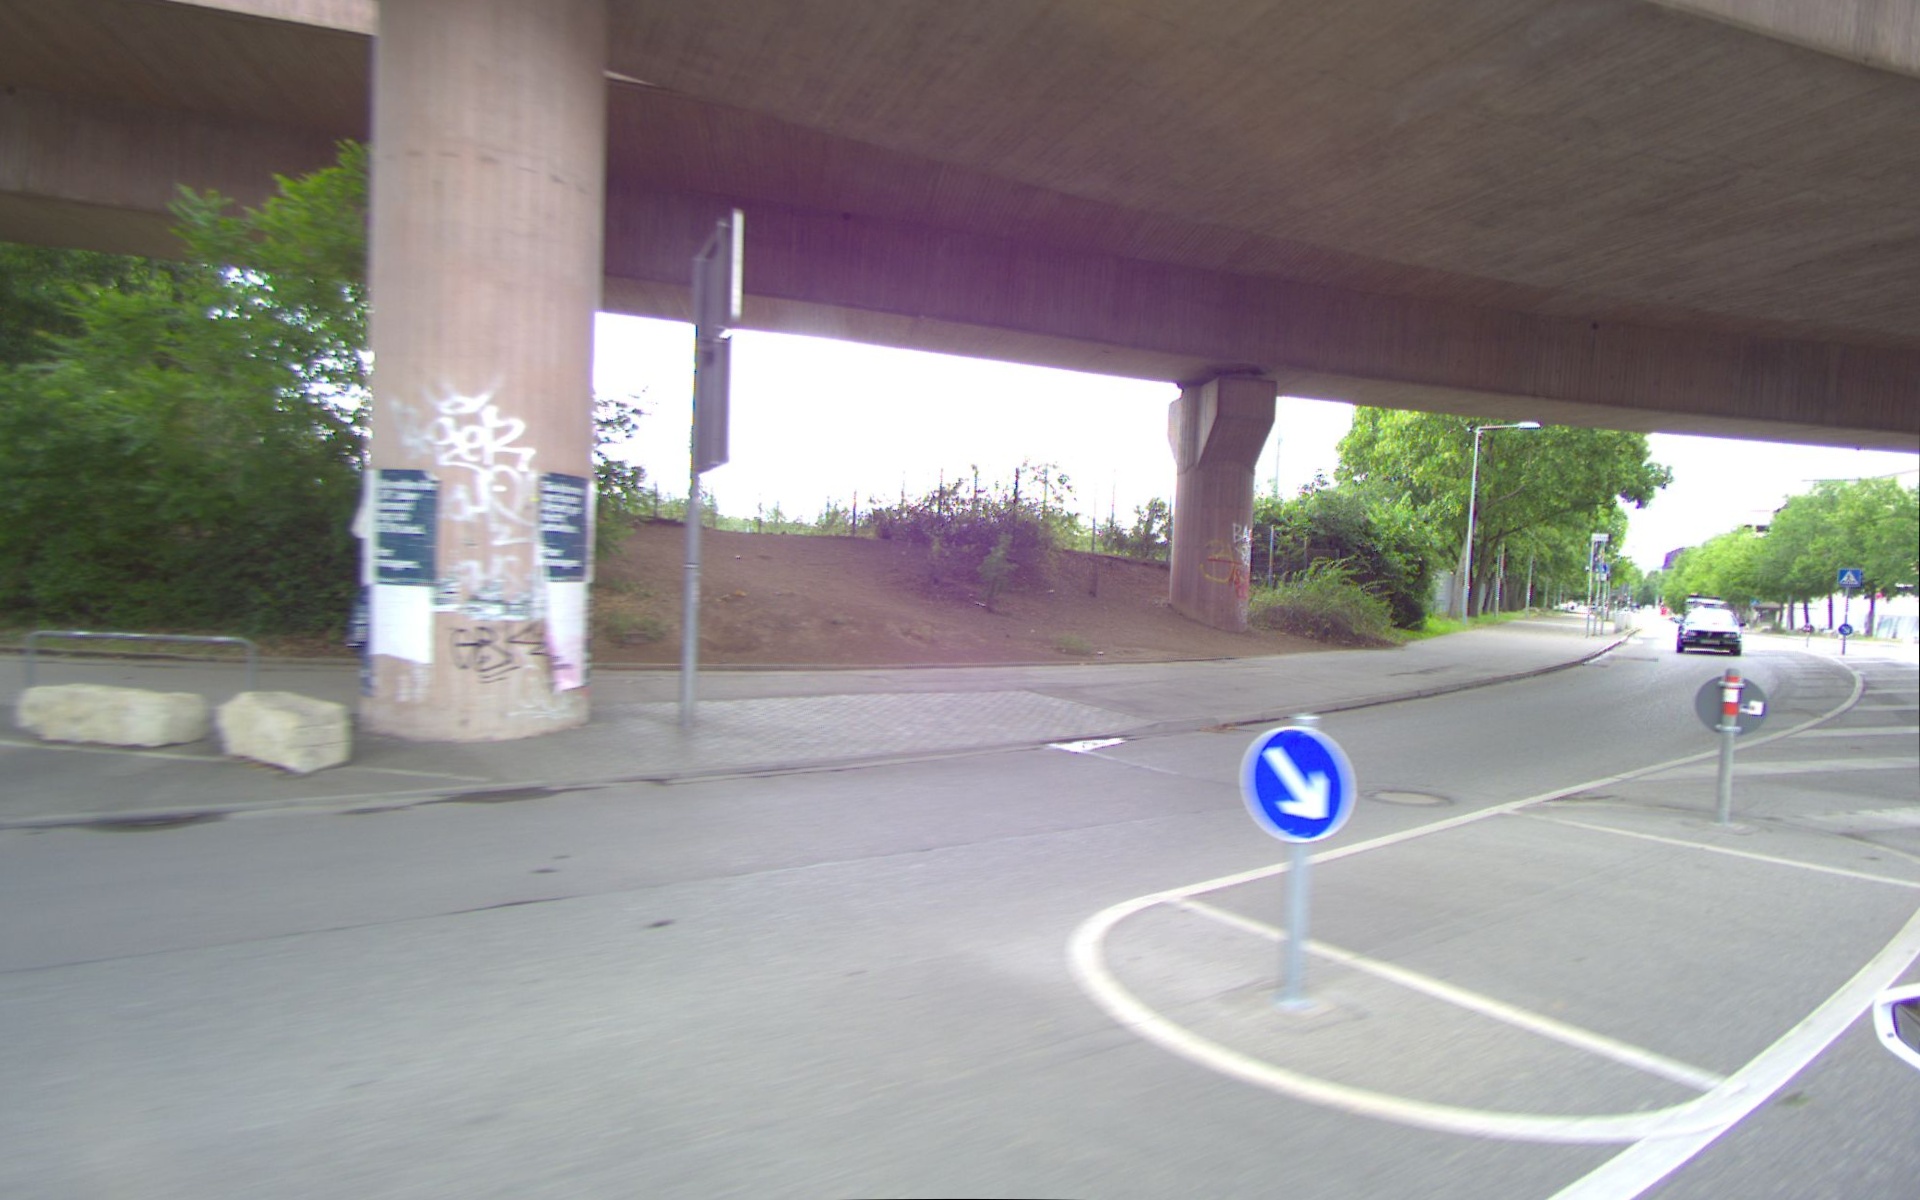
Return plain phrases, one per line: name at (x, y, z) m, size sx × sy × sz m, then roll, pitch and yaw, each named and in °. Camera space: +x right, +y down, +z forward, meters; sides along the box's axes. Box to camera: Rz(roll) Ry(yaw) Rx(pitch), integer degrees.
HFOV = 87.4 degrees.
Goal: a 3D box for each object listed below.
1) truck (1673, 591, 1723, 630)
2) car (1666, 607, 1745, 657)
truck at (71.089, 1.042, 96.872) m, size 2.632 × 3.605 × 7.913 m, roll 1°, pitch -1°, yaw 27°
car at (24.432, 1.023, 32.864) m, size 1.657 × 1.450 × 3.978 m, roll 4°, pitch 2°, yaw 42°
